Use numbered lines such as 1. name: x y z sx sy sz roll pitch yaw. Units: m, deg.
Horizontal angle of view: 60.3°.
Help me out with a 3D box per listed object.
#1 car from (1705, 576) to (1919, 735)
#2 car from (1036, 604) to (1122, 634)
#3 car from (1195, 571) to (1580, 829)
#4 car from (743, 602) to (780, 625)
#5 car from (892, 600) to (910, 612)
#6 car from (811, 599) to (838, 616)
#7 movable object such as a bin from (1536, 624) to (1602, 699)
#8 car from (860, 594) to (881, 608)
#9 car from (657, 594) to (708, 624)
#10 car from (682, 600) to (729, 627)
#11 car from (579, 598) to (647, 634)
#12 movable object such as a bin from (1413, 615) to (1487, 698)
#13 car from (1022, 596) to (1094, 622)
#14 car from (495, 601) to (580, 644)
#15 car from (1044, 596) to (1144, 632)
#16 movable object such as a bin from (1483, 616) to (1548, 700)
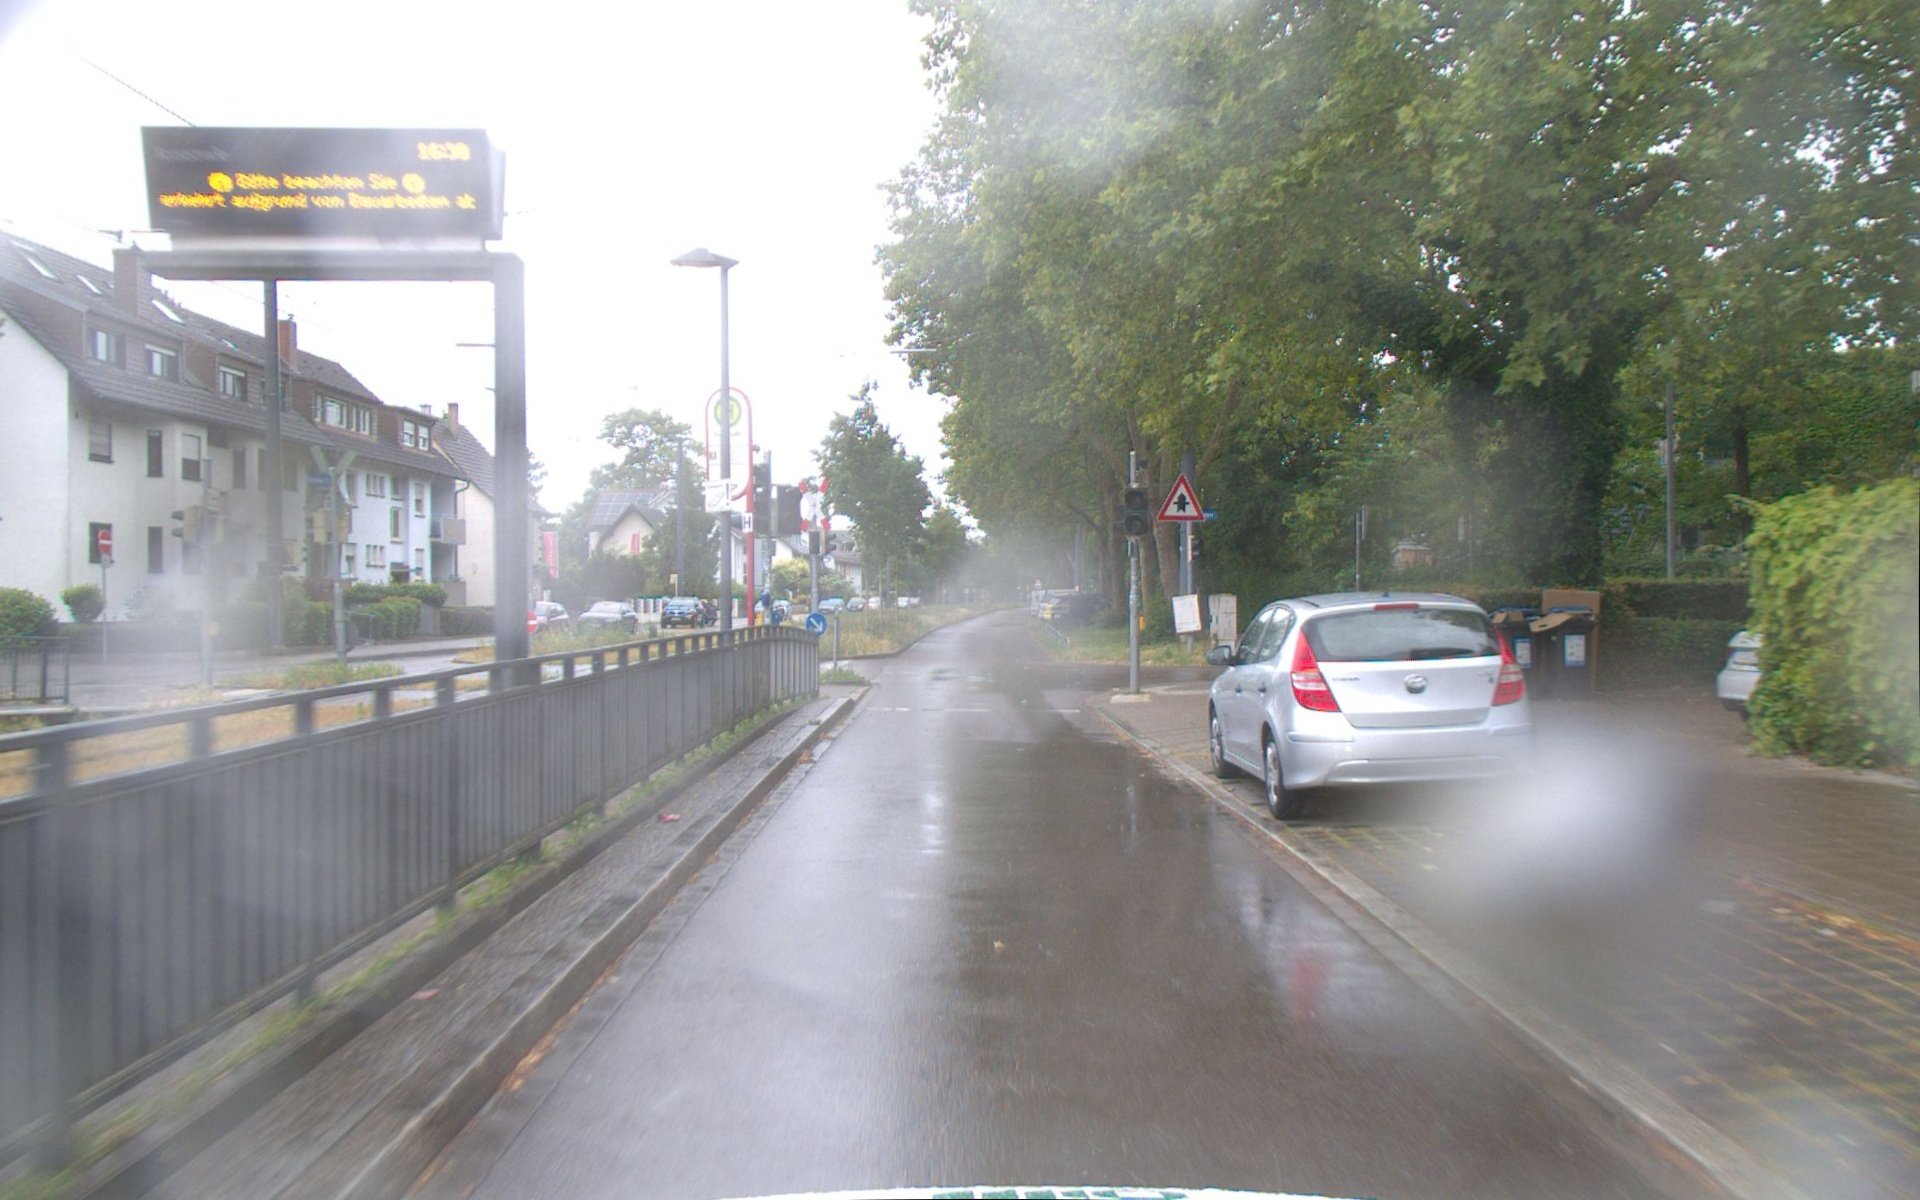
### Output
1. car: 9.203 0.514 15.550 3.619 1.402 1.761 1 -1 2
2. car: 6.003 0.972 83.808 3.921 1.478 1.992 1 -1 -15
3. car: 2.933 0.645 12.208 1.770 1.493 3.793 -4 -1 0
4. car: -13.796 0.935 115.198 1.888 1.512 4.001 0 -1 3
5. car: -7.631 0.797 213.918 1.888 1.512 4.001 0 -1 3
6. car: -12.227 0.663 149.678 1.888 1.512 4.001 0 -1 3
7. movable object such as a bin: 7.780 0.777 21.161 0.525 0.914 0.738 -3 -1 -1
8. car: -9.927 0.113 183.693 1.888 1.512 4.001 0 -1 3
9. car: -14.839 0.493 88.619 1.888 1.512 4.001 0 -1 3
10. car: -14.622 0.769 95.299 1.888 1.512 4.001 0 -1 3
11. car: -14.970 0.707 71.545 1.888 1.512 4.001 0 -1 3
12. movable object such as a bin: 6.512 0.739 21.996 0.678 1.040 0.824 -3 -1 -1
13. car: 5.868 0.549 99.429 3.921 1.478 1.992 1 -1 -15
14. car: -15.435 0.820 60.630 1.888 1.512 4.001 0 -1 3
15. car: 5.786 0.608 71.500 3.921 1.478 1.992 1 -1 -15
16. movable object such as a bin: 7.177 0.742 21.385 0.525 1.040 0.738 -3 -1 -1
